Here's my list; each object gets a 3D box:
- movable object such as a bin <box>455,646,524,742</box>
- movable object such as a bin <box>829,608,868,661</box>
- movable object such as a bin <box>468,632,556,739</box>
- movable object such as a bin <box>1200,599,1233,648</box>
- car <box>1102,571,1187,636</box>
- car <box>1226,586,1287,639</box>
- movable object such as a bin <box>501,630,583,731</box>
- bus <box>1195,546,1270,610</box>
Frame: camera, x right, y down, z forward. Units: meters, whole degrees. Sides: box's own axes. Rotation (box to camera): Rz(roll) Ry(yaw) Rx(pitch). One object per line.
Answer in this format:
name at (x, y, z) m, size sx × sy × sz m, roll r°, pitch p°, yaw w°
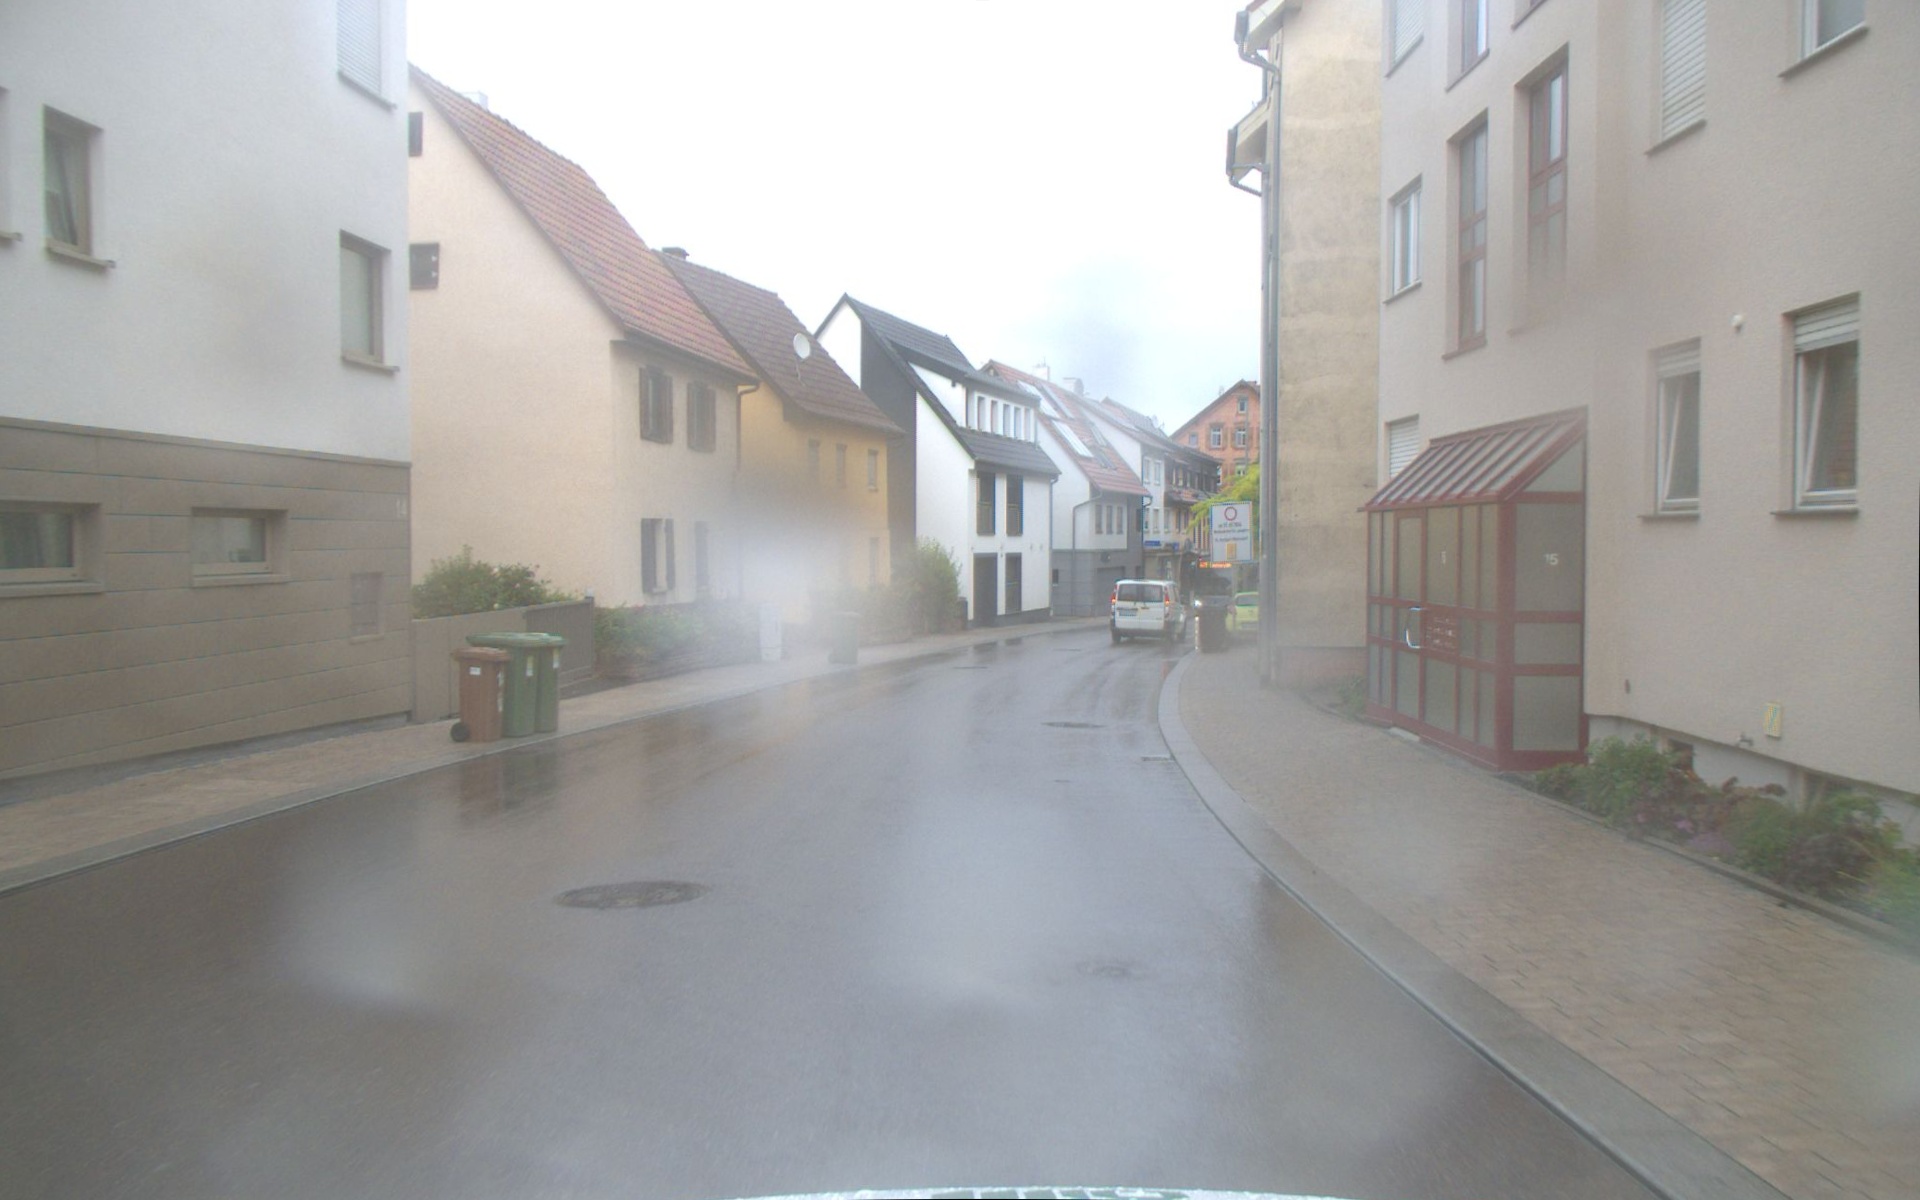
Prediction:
movable object such as a bin at (-4.820, 0.958, 16.974) m, size 0.495 × 0.938 × 0.579 m, roll 1°, pitch 0°, yaw 4°
movable object such as a bin at (-2.366, 0.724, 35.087) m, size 0.645 × 1.074 × 0.764 m, roll 3°, pitch 1°, yaw 8°
movable object such as a bin at (-4.772, 0.898, 17.655) m, size 0.667 × 1.085 × 0.695 m, roll 1°, pitch 0°, yaw 6°
movable object such as a bin at (6.540, 0.589, 42.148) m, size 0.750 × 1.193 × 1.542 m, roll 1°, pitch 0°, yaw 12°
car at (5.682, 0.096, 50.615) m, size 2.148 × 1.884 × 4.308 m, roll 0°, pitch 0°, yaw 12°
car at (9.190, 0.360, 51.144) m, size 1.569 × 1.510 × 3.304 m, roll -2°, pitch 0°, yaw 14°
movable object such as a bin at (-4.637, 0.881, 18.378) m, size 0.667 × 1.064 × 0.662 m, roll 1°, pitch 0°, yaw 6°
bus at (14.951, -1.291, 90.225) m, size 2.682 × 3.184 × 9.240 m, roll 1°, pitch 3°, yaw 18°
